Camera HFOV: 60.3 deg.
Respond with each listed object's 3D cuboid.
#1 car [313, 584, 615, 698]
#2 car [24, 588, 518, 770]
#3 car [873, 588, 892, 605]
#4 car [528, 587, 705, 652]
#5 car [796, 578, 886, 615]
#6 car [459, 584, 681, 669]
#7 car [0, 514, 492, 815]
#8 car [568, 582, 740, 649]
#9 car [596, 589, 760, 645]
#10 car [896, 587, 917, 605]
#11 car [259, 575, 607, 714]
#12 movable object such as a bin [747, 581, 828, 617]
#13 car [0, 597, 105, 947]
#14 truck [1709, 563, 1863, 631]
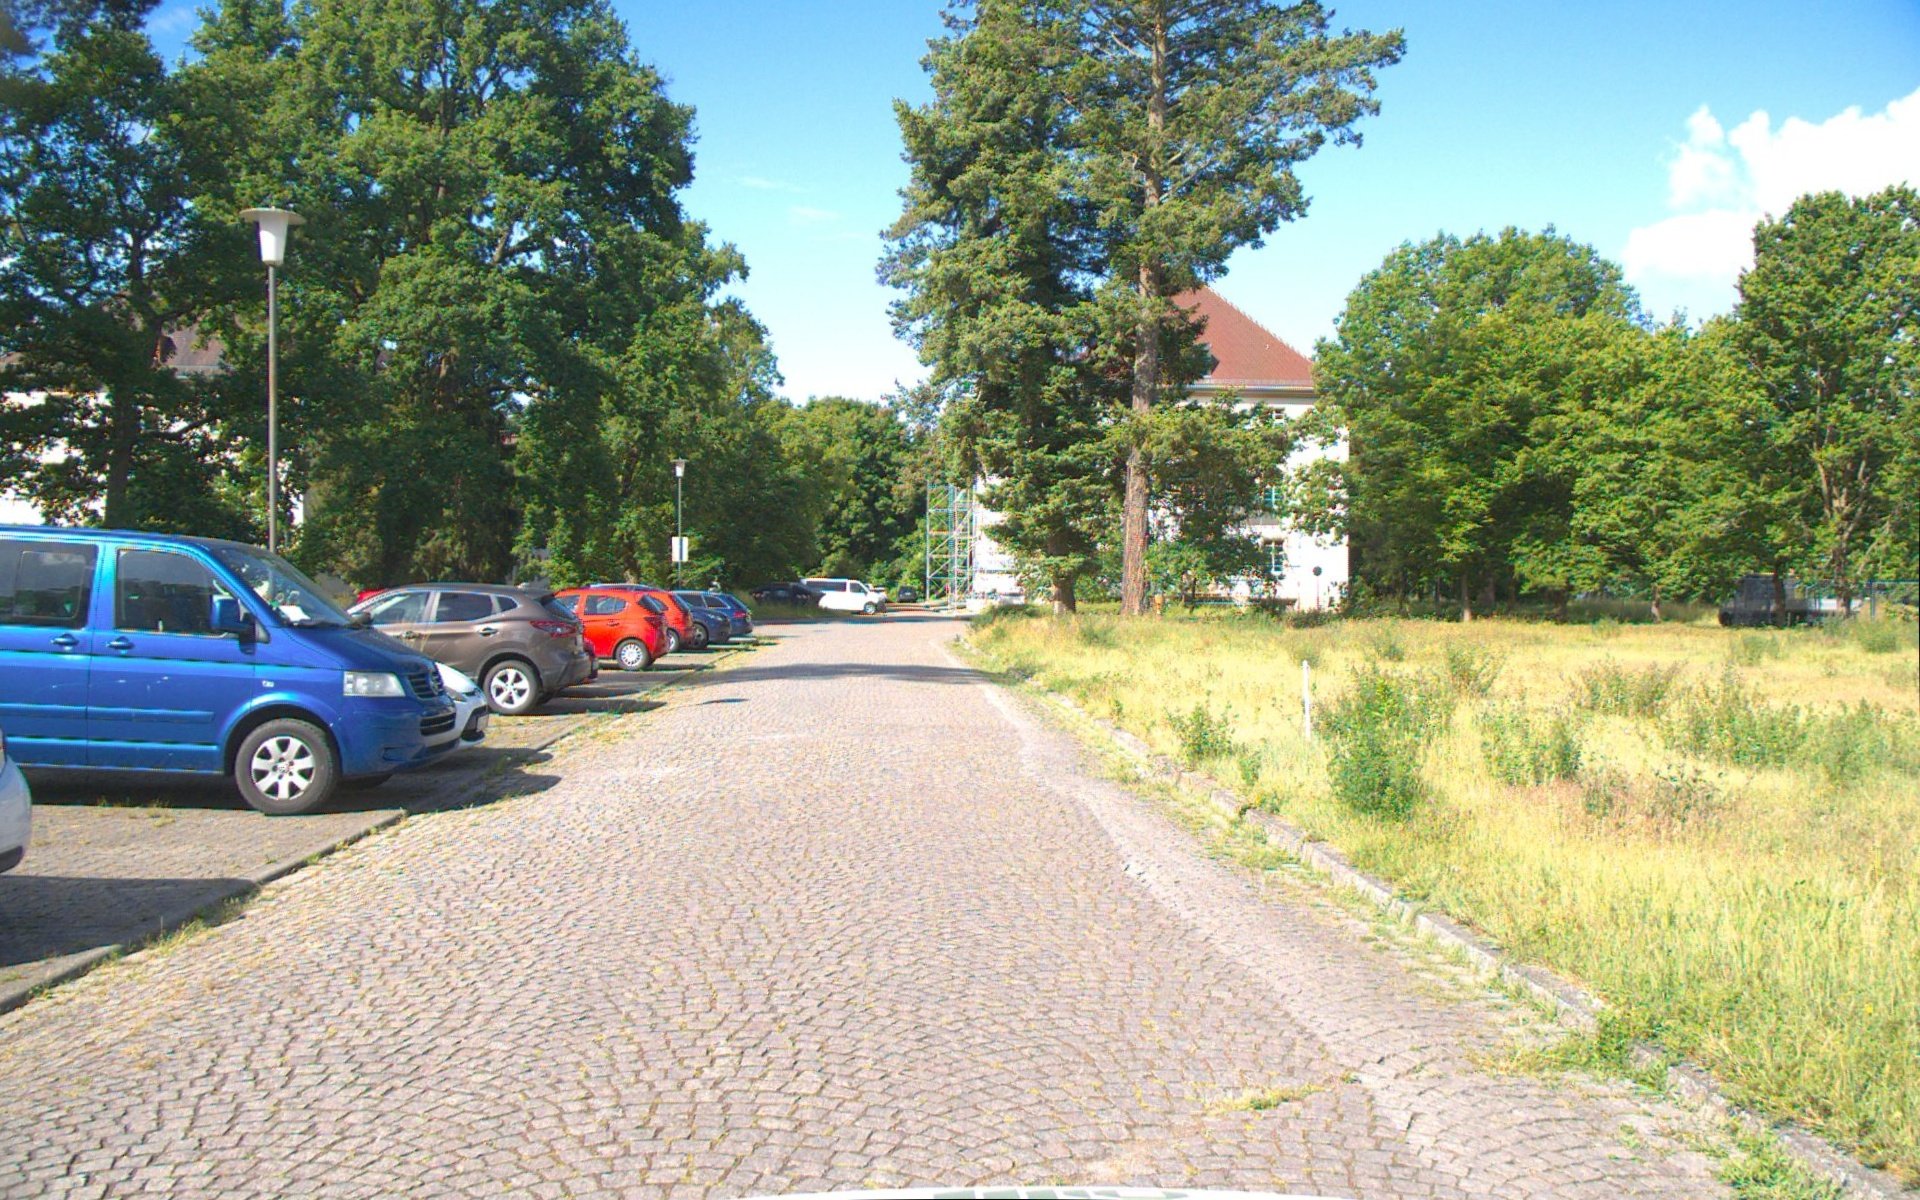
[{"bbox_3d":[-7.091,0.567,23.982,3.846,1.474,1.865,2,1,-5],"label":"car"},{"bbox_3d":[-6.077,0.681,14.967,3.742,1.465,1.681,2,0,-6],"label":"car"},{"bbox_3d":[-7.614,-0.363,161.565,1.776,1.607,4.132,0,0,-4],"label":"car"},{"bbox_3d":[-8.144,0.455,39.439,3.844,1.458,1.841,1,1,-2],"label":"car"},{"bbox_3d":[-6.854,-0.193,95.521,5.131,2.051,1.949,0,0,-4],"label":"car"},{"bbox_3d":[-7.371,0.495,31.569,3.846,1.486,1.840,1,1,-5],"label":"car"},{"bbox_3d":[-6.101,0.423,12.357,4.624,2.002,2.004,2,0,-4],"label":"car"},{"bbox_3d":[-7.686,0.369,41.844,4.053,1.607,1.883,1,1,-3],"label":"car"},{"bbox_3d":[-7.888,0.454,46.521,4.270,1.470,1.921,1,1,-1],"label":"car"},{"bbox_3d":[-5.277,-0.426,162.006,1.932,1.697,4.083,0,0,-4],"label":"car"},{"bbox_3d":[-6.657,0.540,21.273,3.876,1.595,1.972,2,1,-5],"label":"car"},{"bbox_3d":[-8.556,-0.058,82.307,3.490,1.775,2.026,0,0,15],"label":"movable object such as a bin"},{"bbox_3d":[-6.202,0.708,7.051,4.113,1.501,1.823,1,0,-4],"label":"car"},{"bbox_3d":[32.252,-0.108,64.889,2.189,2.466,6.881,2,0,-4],"label":"truck"}]
